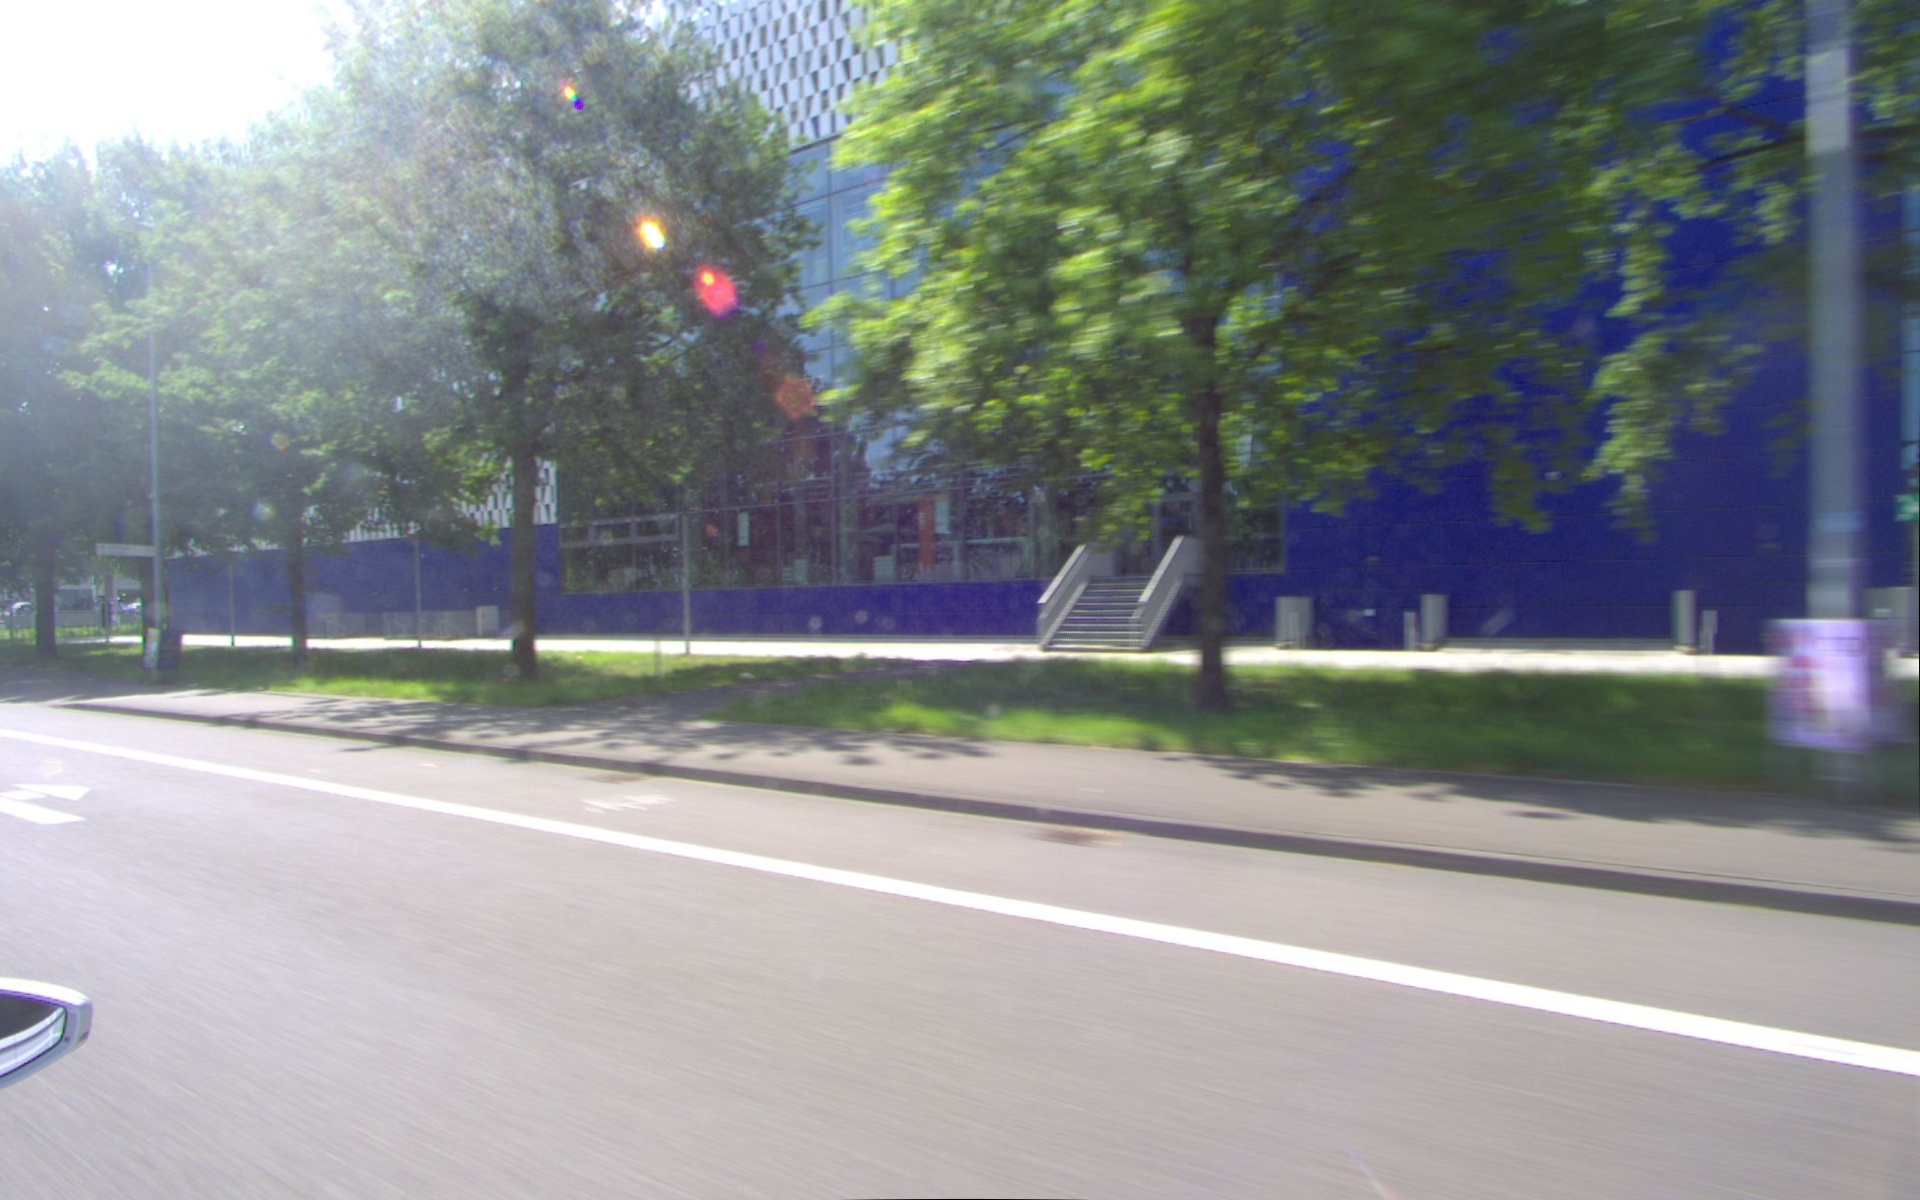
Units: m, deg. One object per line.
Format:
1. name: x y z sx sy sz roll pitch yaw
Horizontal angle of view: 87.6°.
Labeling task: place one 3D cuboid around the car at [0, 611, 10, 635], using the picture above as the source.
1. car: -84.711 2.073 85.905 1.462 2.022 4.384 0 3 37
